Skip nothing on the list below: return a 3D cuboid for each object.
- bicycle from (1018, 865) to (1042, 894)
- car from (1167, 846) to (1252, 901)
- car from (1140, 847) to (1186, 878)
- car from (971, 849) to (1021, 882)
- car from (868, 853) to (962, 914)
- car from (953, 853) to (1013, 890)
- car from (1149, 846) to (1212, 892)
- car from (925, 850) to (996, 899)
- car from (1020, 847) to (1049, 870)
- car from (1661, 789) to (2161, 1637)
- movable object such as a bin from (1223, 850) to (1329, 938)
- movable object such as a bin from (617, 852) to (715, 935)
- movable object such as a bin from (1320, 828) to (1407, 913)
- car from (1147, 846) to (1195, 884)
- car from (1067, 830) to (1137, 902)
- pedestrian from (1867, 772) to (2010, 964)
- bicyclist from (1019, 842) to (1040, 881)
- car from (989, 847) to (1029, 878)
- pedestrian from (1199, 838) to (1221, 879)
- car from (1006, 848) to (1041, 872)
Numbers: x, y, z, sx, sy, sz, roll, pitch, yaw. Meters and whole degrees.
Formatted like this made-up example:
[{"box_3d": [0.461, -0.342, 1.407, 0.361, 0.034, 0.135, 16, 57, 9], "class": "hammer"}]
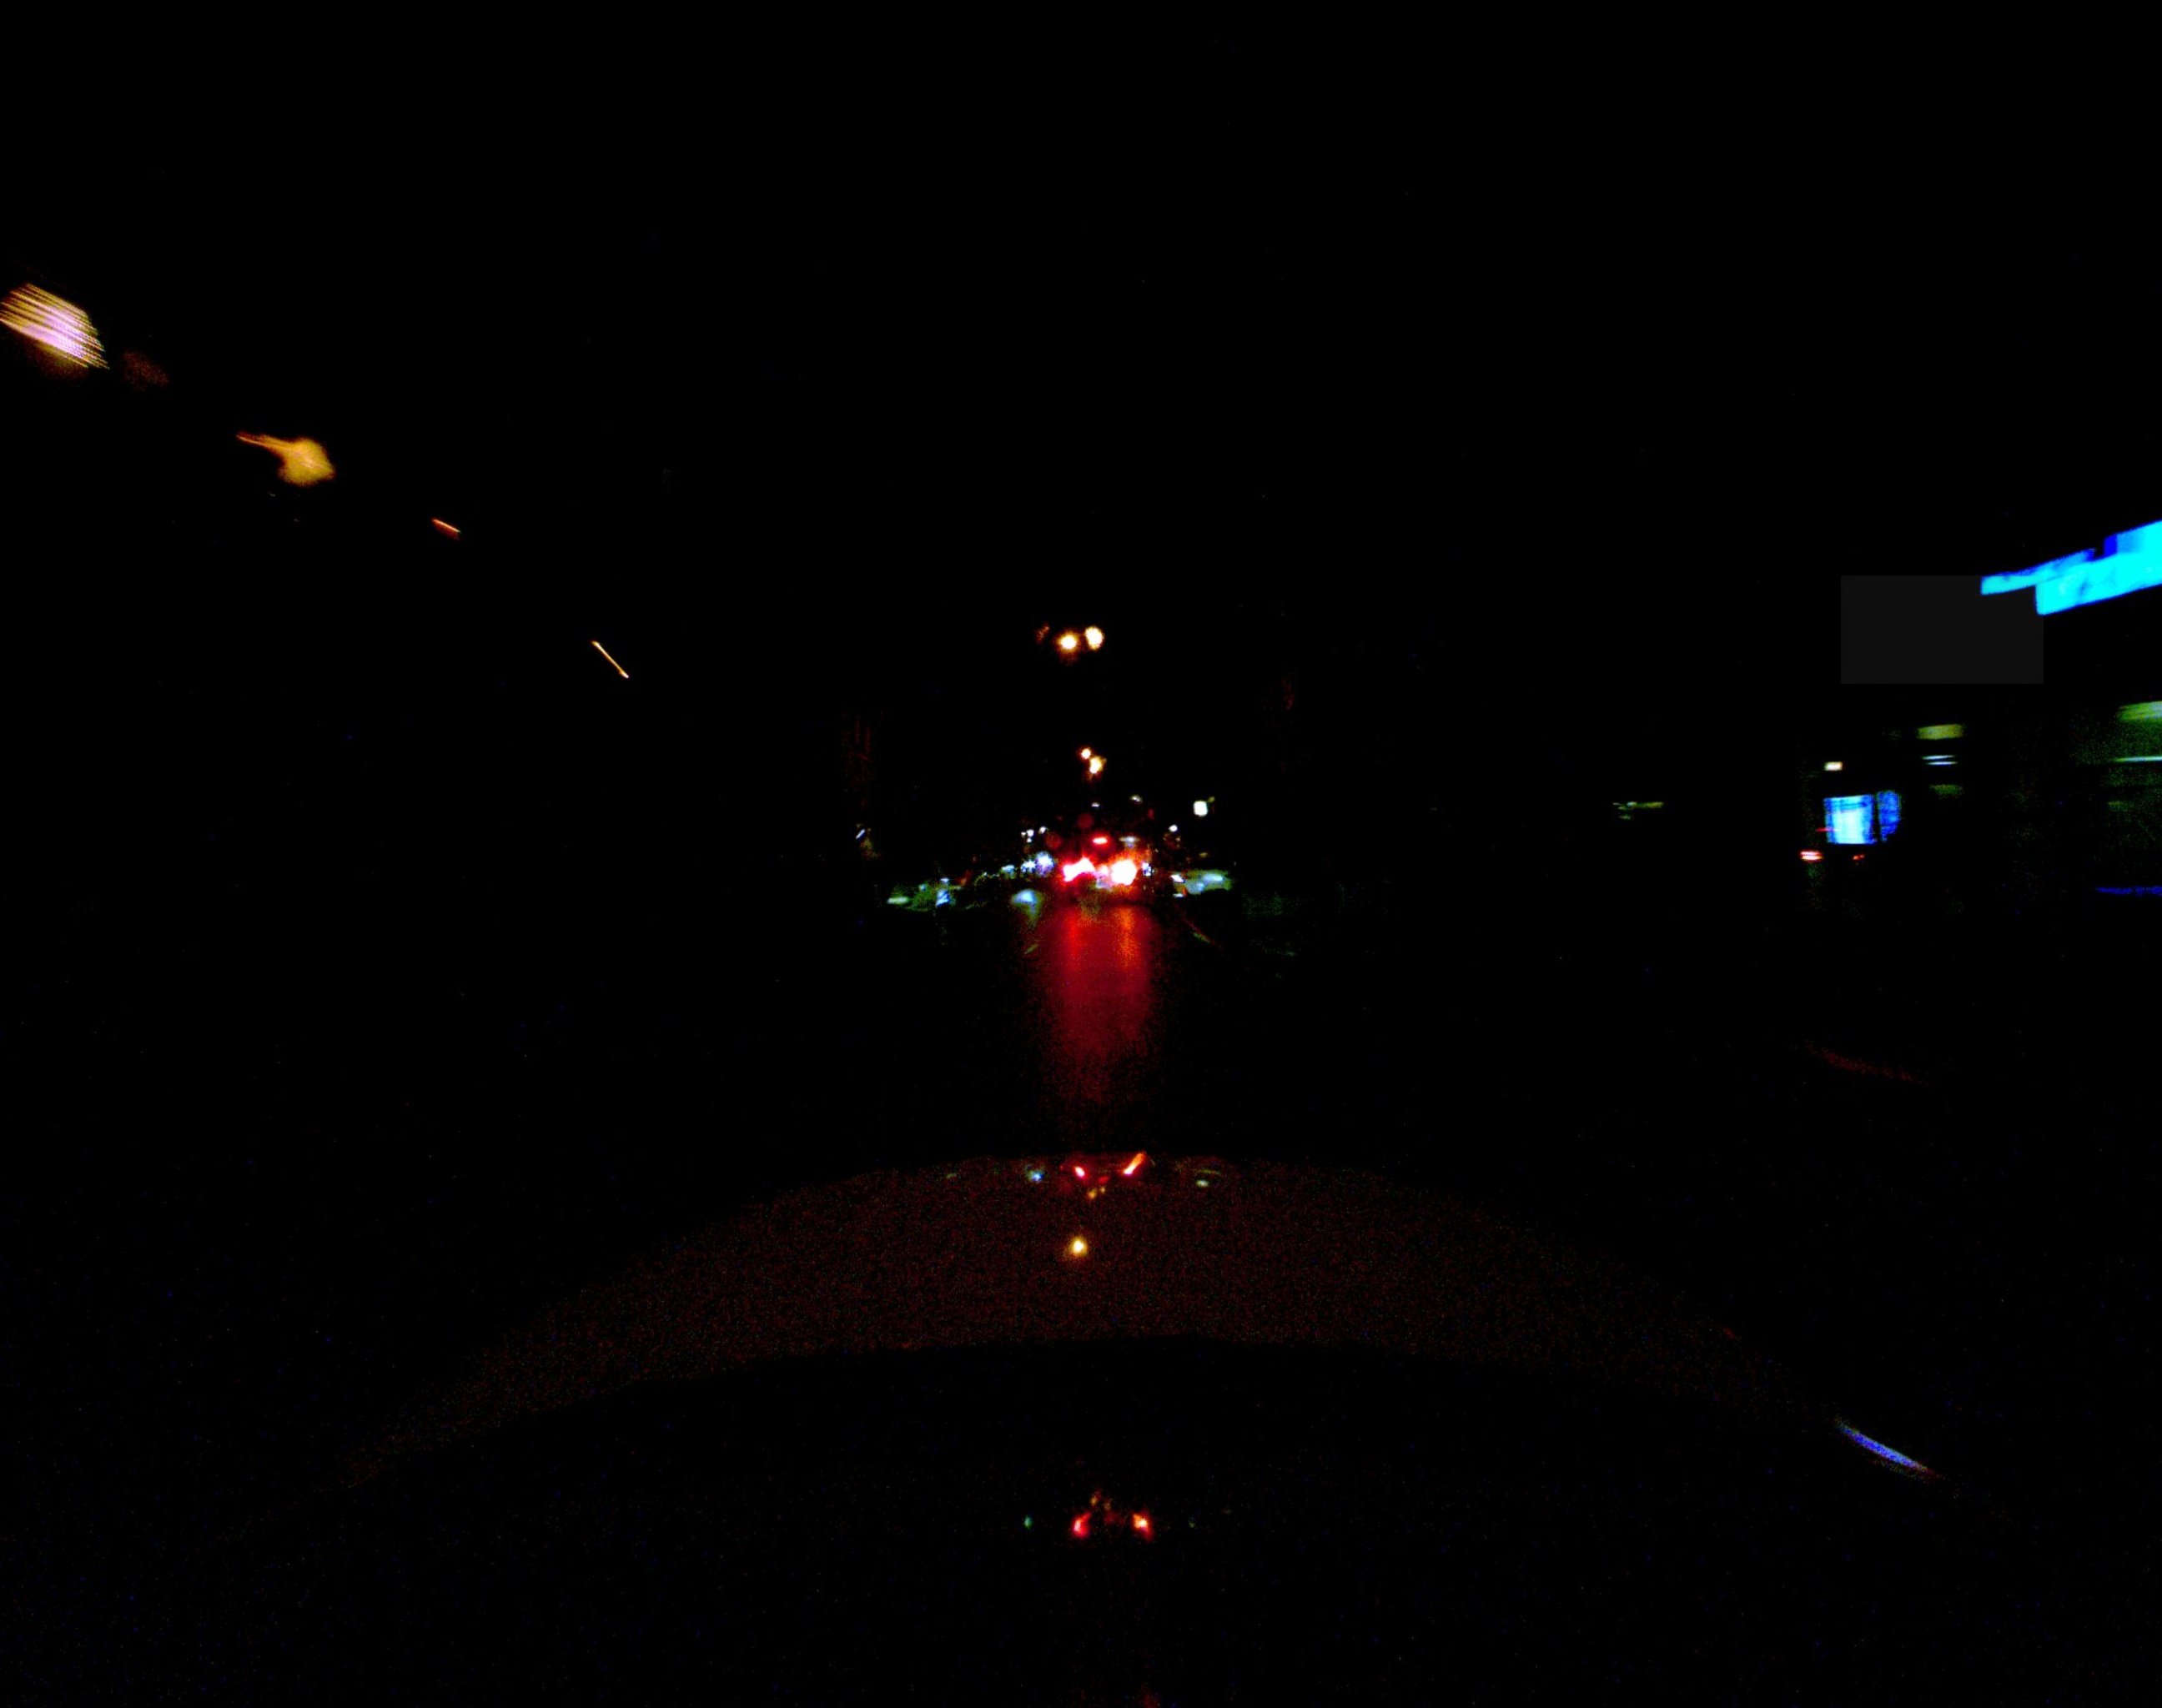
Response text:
[{"box_3d": [-2.091, 1.026, 33.700, 0.724, 1.072, 2.349, -2, 0, 2], "class": "bicycle"}, {"box_3d": [3.754, 0.518, 24.581, 1.986, 1.464, 4.418, -1, 0, 2], "class": "car"}, {"box_3d": [3.964, 0.386, 40.090, 1.910, 1.412, 4.001, -2, 0, 1], "class": "car"}, {"box_3d": [-4.120, 0.536, 39.920, 1.826, 1.481, 4.309, -1, 0, 2], "class": "car"}, {"box_3d": [-4.397, 0.738, 22.050, 1.666, 1.491, 3.723, 0, 0, 2], "class": "car"}, {"box_3d": [-4.050, 0.684, 34.373, 1.815, 1.389, 4.427, -1, 0, 2], "class": "car"}, {"box_3d": [3.540, 0.507, 29.551, 1.685, 1.498, 3.888, -1, 0, -2], "class": "car"}, {"box_3d": [-4.162, 0.665, 28.743, 1.768, 1.572, 4.136, -1, 0, 2], "class": "car"}, {"box_3d": [-3.629, 0.361, 64.604, 1.826, 1.717, 4.596, -1, 0, 2], "class": "car"}, {"box_3d": [4.188, 0.505, 1.773, 4.496, 1.530, 1.781, -5, 0, 1], "class": "car"}, {"box_3d": [3.410, 0.665, 14.282, 1.347, 1.429, 1.188, -1, 0, -35], "class": "movable object such as a bin"}, {"box_3d": [-7.791, 0.713, 15.376, 1.098, 1.454, 1.378, -2, 0, 0], "class": "movable object such as a bin"}, {"box_3d": [4.991, 0.279, 14.464, 1.300, 1.429, 1.053, -1, 0, 11], "class": "movable object such as a bin"}, {"box_3d": [3.774, 0.421, 34.820, 1.683, 1.498, 3.892, -1, 0, 1], "class": "car"}, {"box_3d": [0.714, 0.335, 25.975, 1.988, 2.049, 4.697, -1, 0, 2], "class": "car"}, {"box_3d": [8.441, 0.130, 8.044, 0.699, 1.788, 0.625, -3, 1, 5], "class": "pedestrian"}, {"box_3d": [-2.131, 0.299, 33.804, 0.716, 1.556, 0.895, -2, 0, 1], "class": "bicyclist"}, {"box_3d": [-3.906, 0.452, 44.627, 1.738, 1.588, 3.767, -1, 0, 2], "class": "car"}, {"box_3d": [5.941, 0.197, 37.488, 0.858, 1.788, 1.084, -3, 1, 5], "class": "pedestrian"}, {"box_3d": [-3.762, 0.364, 54.162, 1.826, 1.486, 4.596, -1, 0, 2], "class": "car"}]
